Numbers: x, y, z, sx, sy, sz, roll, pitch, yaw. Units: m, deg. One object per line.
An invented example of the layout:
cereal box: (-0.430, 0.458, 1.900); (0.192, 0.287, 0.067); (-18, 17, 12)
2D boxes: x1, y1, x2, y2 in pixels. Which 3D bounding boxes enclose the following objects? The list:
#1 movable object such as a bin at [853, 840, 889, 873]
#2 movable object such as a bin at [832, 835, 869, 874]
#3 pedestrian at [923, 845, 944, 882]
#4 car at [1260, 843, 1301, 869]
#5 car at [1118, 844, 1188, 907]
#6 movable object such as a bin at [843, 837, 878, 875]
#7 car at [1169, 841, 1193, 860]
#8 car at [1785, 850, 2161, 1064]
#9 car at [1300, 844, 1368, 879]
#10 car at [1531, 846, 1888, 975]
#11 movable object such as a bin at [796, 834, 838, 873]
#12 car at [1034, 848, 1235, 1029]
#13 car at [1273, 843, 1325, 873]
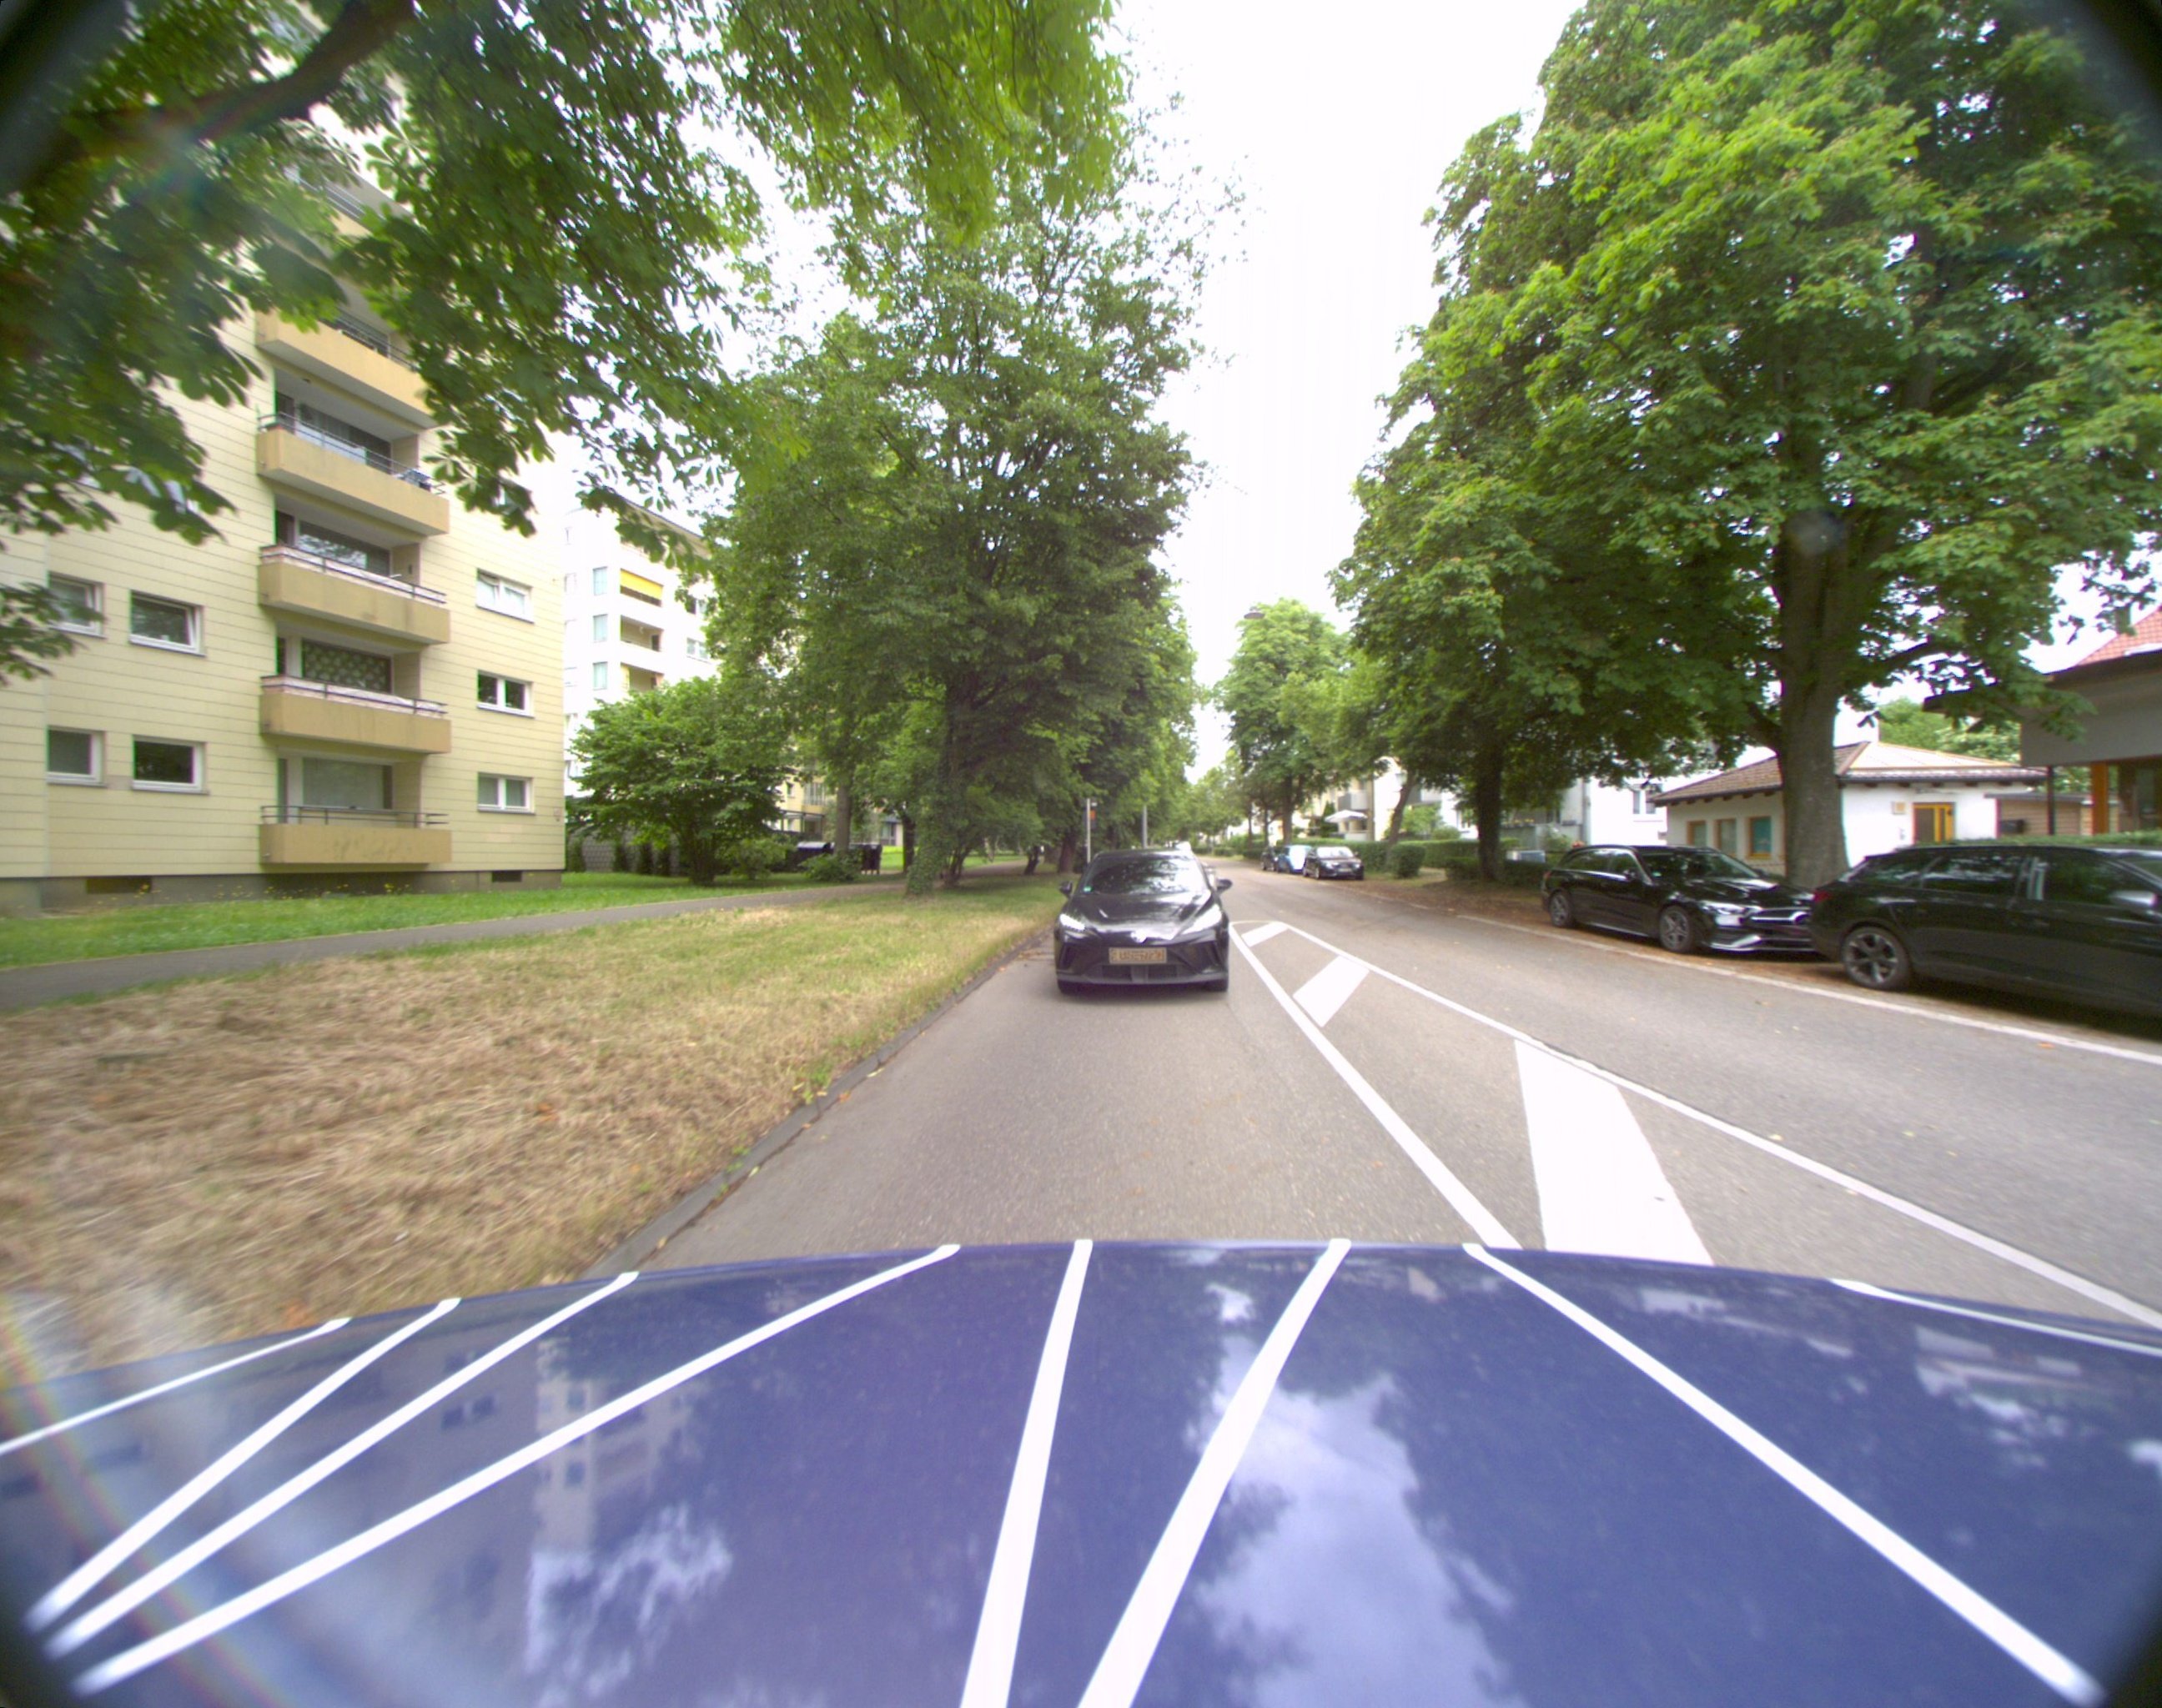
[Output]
movable object such as a bin: (-9.864, 0.120, 35.704); (1.328, 1.466, 1.201); (1, 2, 2)
movable object such as a bin: (-10.053, 0.014, 33.202); (1.277, 1.633, 1.020); (1, 2, 2)
pedestrian: (-5.656, 0.363, 29.247); (0.689, 1.373, 0.606); (0, 2, -2)
car: (10.941, 0.101, 41.850); (1.540, 1.368, 3.772); (0, 0, 4)
car: (2.116, 0.534, 21.795); (1.813, 1.521, 4.001); (0, 2, 7)
movable object such as a bin: (-9.997, 0.068, 34.439); (1.239, 1.633, 1.075); (1, 2, 2)
car: (8.591, -0.299, 65.379); (1.997, 1.586, 4.001); (0, 1, 6)
car: (8.517, 0.731, 6.100); (1.749, 1.442, 4.514); (0, 1, 4)
car: (10.495, 0.264, 31.831); (1.851, 1.368, 4.596); (0, 0, 7)
car: (8.691, 0.638, 11.186); (1.749, 1.442, 4.594); (0, 1, 5)
movable object such as a bin: (-11.551, -0.024, 33.265); (1.434, 1.633, 1.020); (1, 2, 2)
car: (0.779, 0.756, 9.033); (1.802, 1.542, 4.300); (-1, 1, 8)
car: (10.697, 0.176, 37.578); (1.636, 1.368, 4.153); (0, 0, 4)
